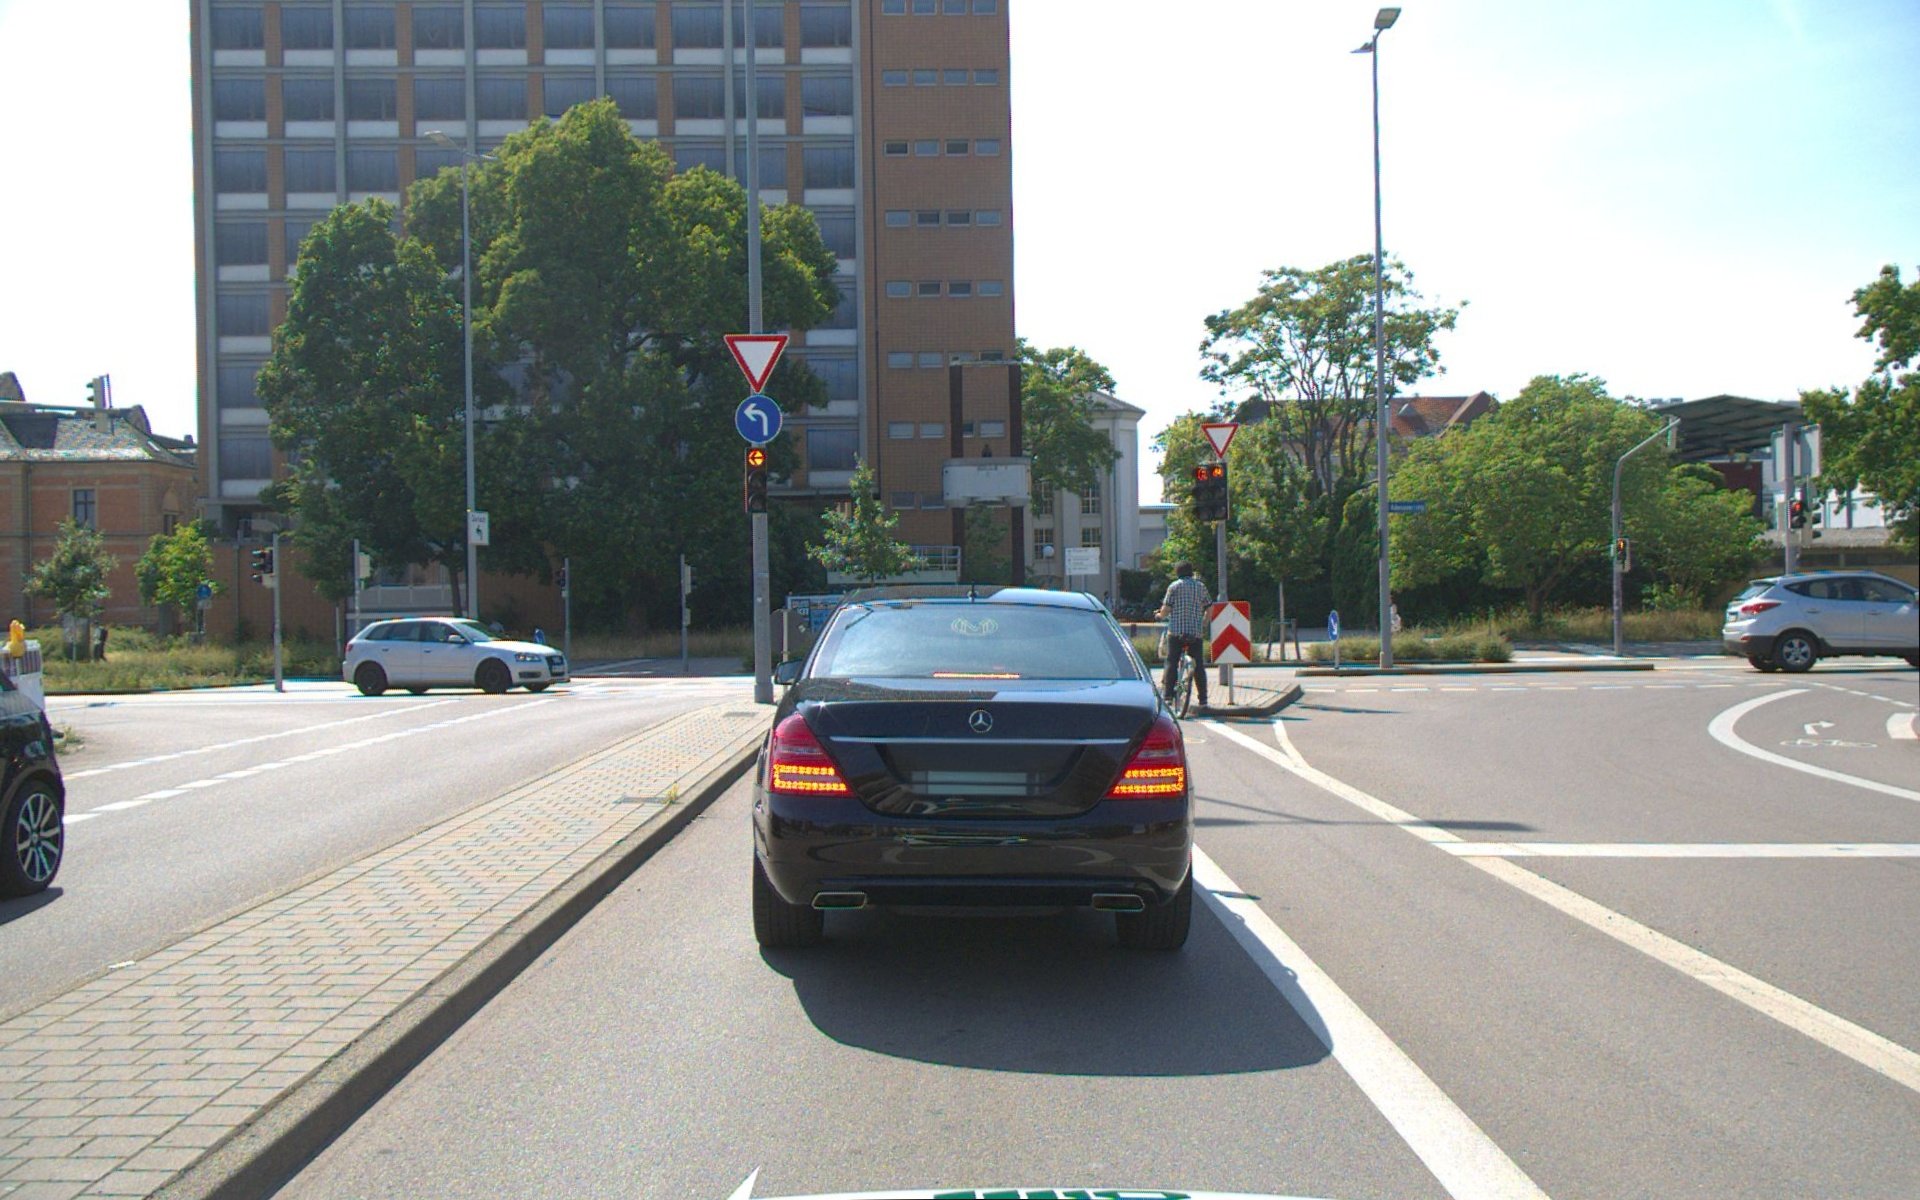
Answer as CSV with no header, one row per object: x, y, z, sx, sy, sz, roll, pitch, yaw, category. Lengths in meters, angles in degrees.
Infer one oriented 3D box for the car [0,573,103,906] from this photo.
-5.428,0.713,7.102,1.628,1.601,3.631,-3,0,-2,car

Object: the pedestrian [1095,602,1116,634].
5.670,0.694,64.324,0.776,1.235,0.758,1,0,6,pedestrian

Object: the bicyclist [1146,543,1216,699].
2.745,0.258,20.628,0.673,1.911,0.858,0,0,-7,bicyclist

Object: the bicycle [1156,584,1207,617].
12.579,0.016,93.972,2.766,1.775,0.841,-2,0,-2,bicycle

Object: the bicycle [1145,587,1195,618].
12.241,0.123,96.444,2.766,1.688,0.841,-2,1,-2,bicycle

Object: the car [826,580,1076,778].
-0.099,0.632,15.048,1.953,1.534,3.999,1,0,-1,car

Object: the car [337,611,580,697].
-9.340,1.000,30.886,4.070,1.445,1.586,-2,0,14,car

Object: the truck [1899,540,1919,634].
27.900,-0.439,41.859,6.881,2.397,2.413,-2,0,0,truck

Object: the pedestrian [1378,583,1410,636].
13.492,0.306,51.420,0.794,1.607,0.692,-1,-1,1,pedestrian

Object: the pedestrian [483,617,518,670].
-15.711,1.484,56.550,0.781,1.756,0.873,-2,-1,22,pedestrian

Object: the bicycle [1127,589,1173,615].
12.014,0.129,104.726,2.766,1.526,0.841,-2,0,-2,bicycle

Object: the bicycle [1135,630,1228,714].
2.742,0.879,20.655,0.679,0.963,1.955,1,0,-7,bicycle

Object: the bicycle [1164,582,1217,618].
12.758,0.000,91.716,2.766,1.868,0.841,-2,0,-2,bicycle

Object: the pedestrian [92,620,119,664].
-33.043,1.615,63.941,0.635,1.690,0.649,1,-1,25,pedestrian

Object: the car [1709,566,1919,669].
15.408,0.280,28.654,4.113,1.646,1.713,-2,0,11,car

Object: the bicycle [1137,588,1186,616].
12.018,0.108,98.547,2.766,1.564,0.841,-2,0,-2,bicycle

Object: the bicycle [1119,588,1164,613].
11.680,0.036,106.599,2.765,1.506,0.841,-2,0,0,bicycle

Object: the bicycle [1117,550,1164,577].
11.174,-2.251,102.474,2.766,1.586,0.841,-2,0,-2,bicycle

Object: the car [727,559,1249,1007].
0.127,0.652,8.171,1.820,1.557,4.714,1,0,1,car
